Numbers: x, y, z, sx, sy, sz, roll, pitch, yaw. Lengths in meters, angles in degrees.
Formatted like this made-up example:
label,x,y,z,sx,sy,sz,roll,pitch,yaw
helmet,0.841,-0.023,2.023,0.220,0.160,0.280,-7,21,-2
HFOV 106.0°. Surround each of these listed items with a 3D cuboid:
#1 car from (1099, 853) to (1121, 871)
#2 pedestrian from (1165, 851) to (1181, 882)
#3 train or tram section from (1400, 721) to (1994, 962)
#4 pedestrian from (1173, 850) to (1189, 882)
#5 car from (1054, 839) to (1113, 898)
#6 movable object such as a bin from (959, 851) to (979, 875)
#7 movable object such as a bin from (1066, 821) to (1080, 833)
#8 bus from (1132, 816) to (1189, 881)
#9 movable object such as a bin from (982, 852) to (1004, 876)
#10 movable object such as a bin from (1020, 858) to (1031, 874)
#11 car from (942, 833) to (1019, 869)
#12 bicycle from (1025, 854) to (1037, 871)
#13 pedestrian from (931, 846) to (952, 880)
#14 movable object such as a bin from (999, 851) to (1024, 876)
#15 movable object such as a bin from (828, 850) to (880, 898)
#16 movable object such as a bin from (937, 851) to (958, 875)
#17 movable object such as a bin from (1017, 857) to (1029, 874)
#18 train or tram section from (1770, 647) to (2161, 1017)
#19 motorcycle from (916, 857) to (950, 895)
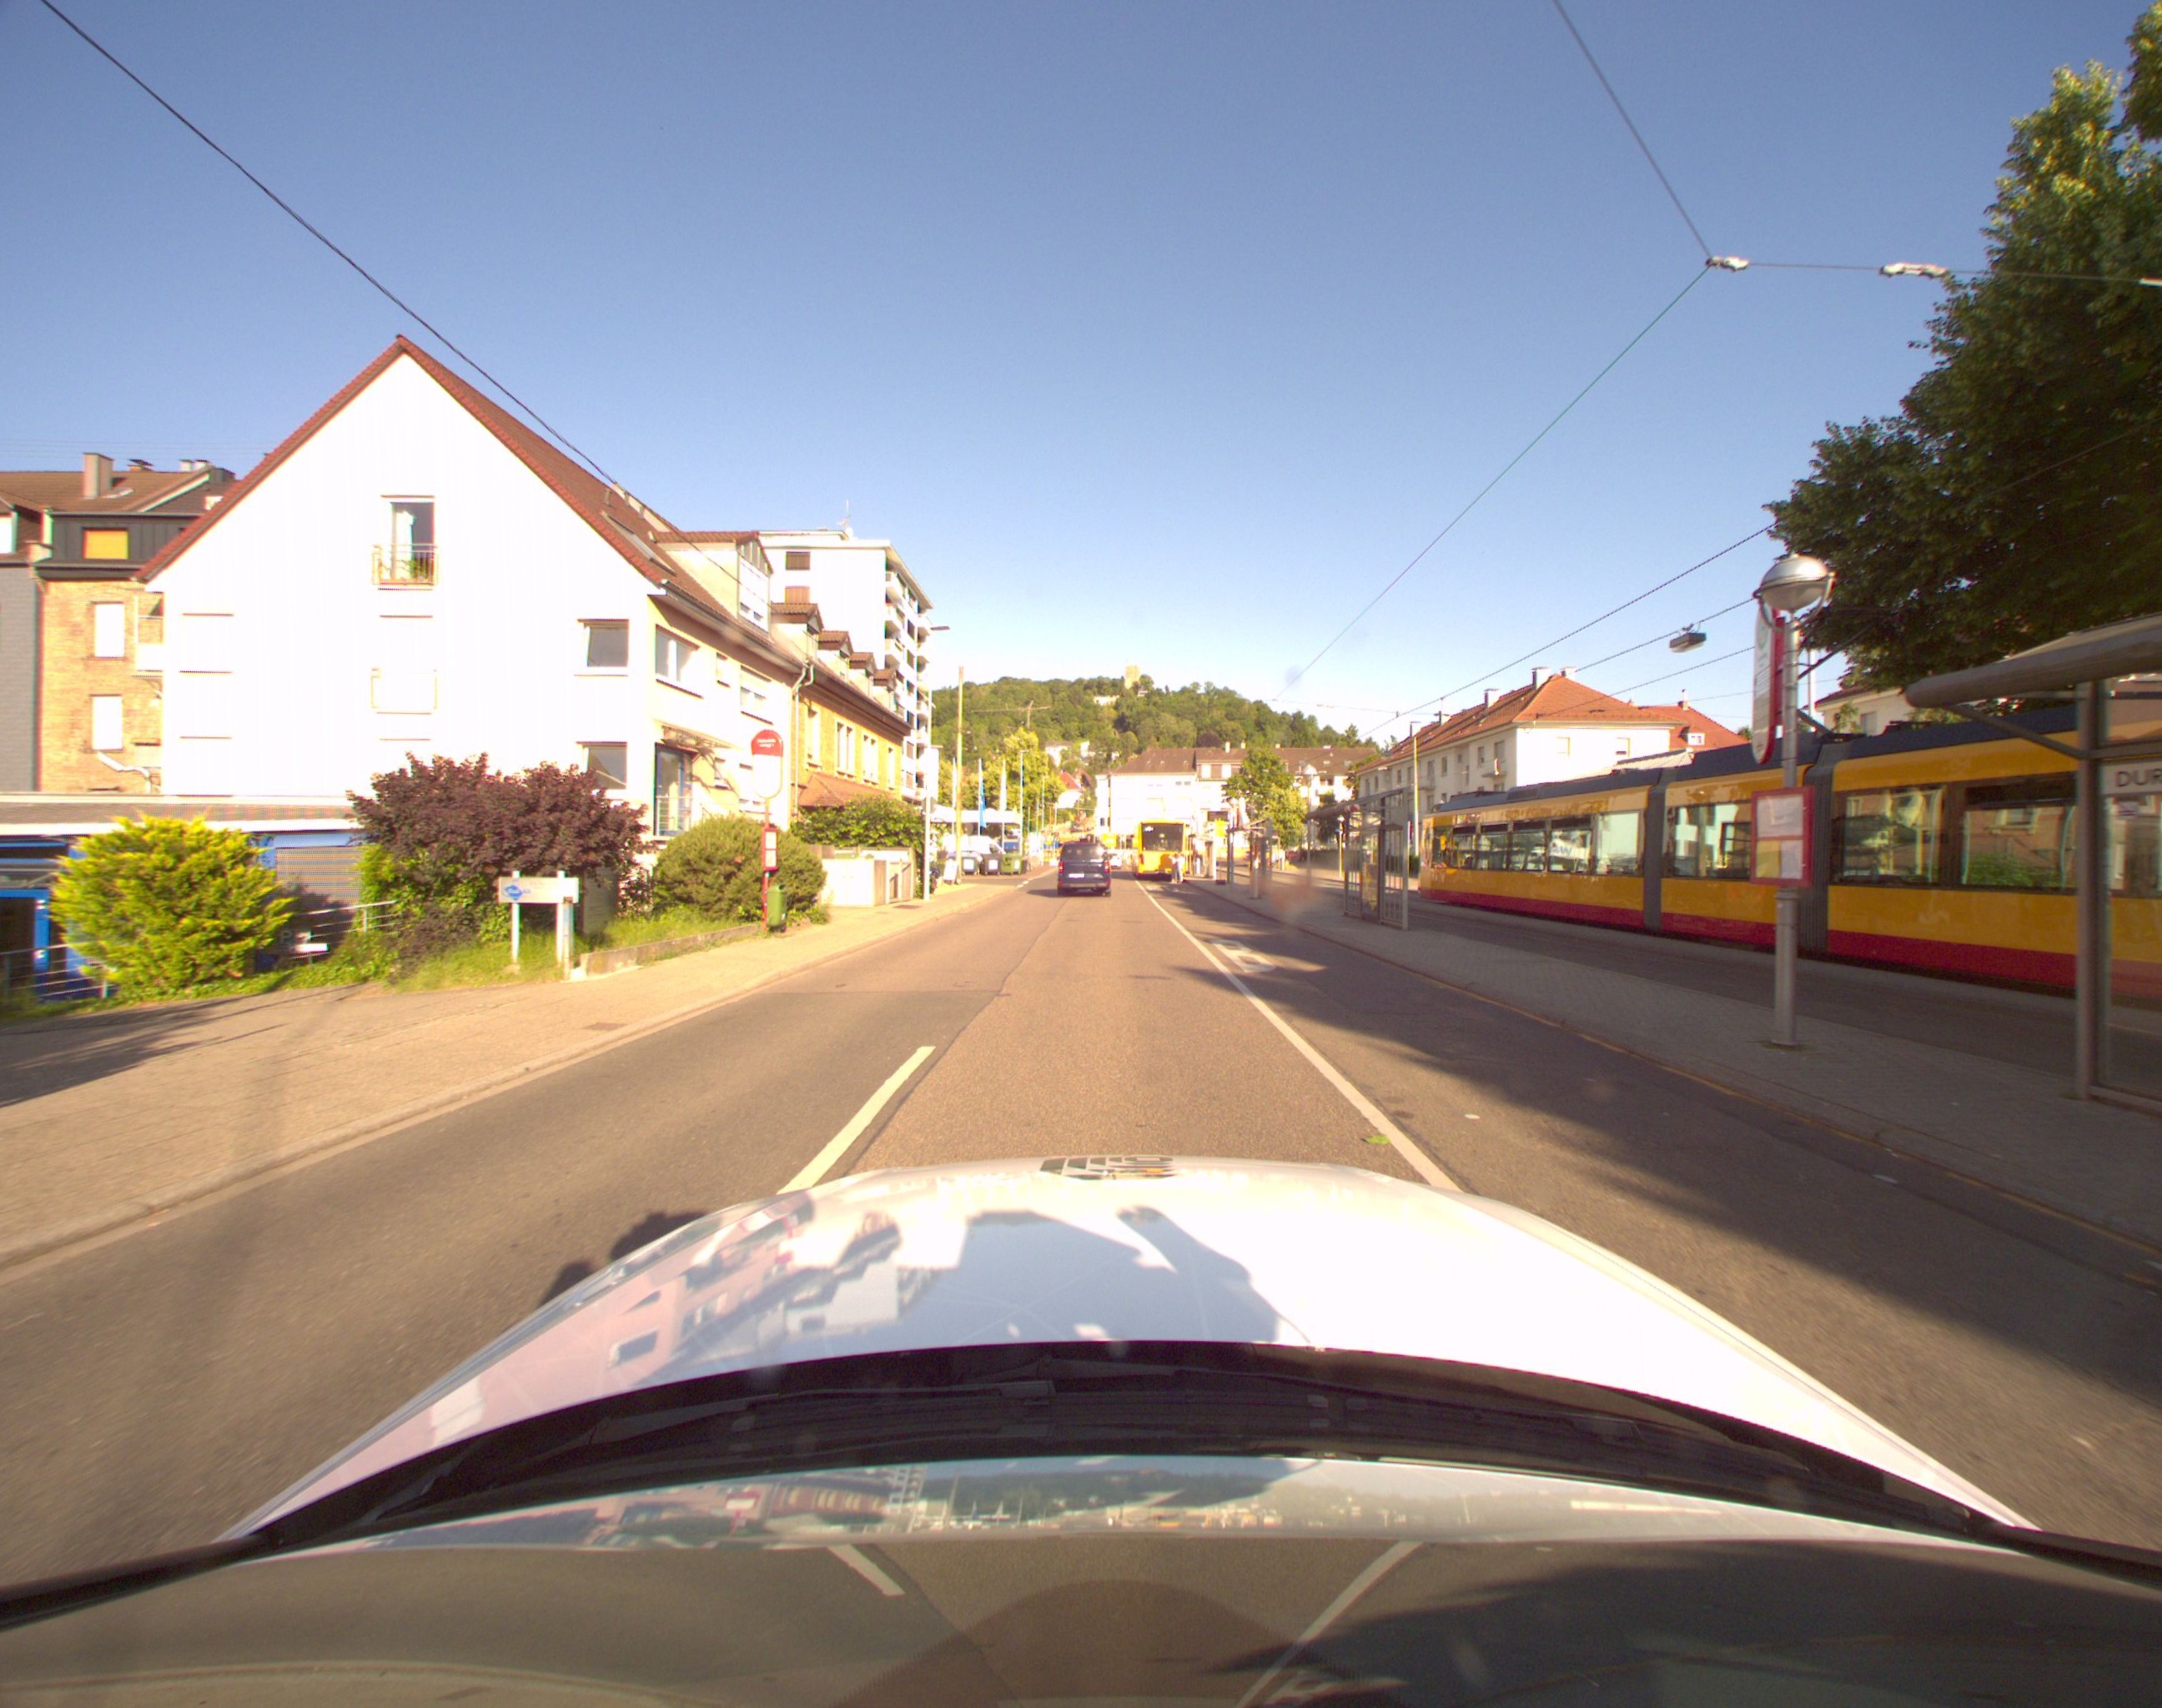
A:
label,x,y,z,sx,sy,sz,roll,pitch,yaw
car,2.407,0.605,66.864,1.787,1.409,4.002,0,0,2
pedestrian,4.738,0.637,41.913,0.548,1.613,0.629,0,0,-36
train or tram section,12.202,-0.090,20.012,2.946,3.534,15.976,-1,-1,2
pedestrian,5.099,0.629,41.563,0.548,1.613,0.544,0,0,-36
car,0.170,0.521,31.217,2.054,2.013,5.002,-2,0,2
movable object such as a bin,-7.133,0.598,52.063,1.215,1.482,0.703,0,3,-3
movable object such as a bin,-1.839,-6.120,185.672,2.175,2.690,4.015,0,1,13
bus,4.582,-0.343,49.103,2.678,3.416,12.025,0,1,2
movable object such as a bin,-5.637,0.632,52.355,1.225,1.482,0.698,-1,4,-27
movable object such as a bin,-3.732,0.794,54.890,0.635,1.069,0.582,1,3,14
car,-7.135,-0.180,57.870,5.072,2.469,2.095,1,0,-20
bicycle,-3.681,0.629,60.054,0.722,1.178,1.776,0,0,-7
pedestrian,-7.641,0.483,44.665,0.809,1.867,0.800,0,0,35
movable object such as a bin,-4.547,0.611,53.352,1.045,1.482,1.321,2,4,30
movable object such as a bin,-6.824,0.585,24.585,1.304,1.430,0.991,0,0,-2
movable object such as a bin,-8.524,0.569,52.025,1.175,1.482,0.703,0,3,-3
movable object such as a bin,-3.857,0.775,54.273,0.655,1.062,0.587,3,2,14
train or tram section,11.707,-0.247,5.555,2.946,3.534,13.469,-1,-1,2
motorcycle,-5.299,0.772,29.310,0.836,1.282,2.231,1,0,-1
